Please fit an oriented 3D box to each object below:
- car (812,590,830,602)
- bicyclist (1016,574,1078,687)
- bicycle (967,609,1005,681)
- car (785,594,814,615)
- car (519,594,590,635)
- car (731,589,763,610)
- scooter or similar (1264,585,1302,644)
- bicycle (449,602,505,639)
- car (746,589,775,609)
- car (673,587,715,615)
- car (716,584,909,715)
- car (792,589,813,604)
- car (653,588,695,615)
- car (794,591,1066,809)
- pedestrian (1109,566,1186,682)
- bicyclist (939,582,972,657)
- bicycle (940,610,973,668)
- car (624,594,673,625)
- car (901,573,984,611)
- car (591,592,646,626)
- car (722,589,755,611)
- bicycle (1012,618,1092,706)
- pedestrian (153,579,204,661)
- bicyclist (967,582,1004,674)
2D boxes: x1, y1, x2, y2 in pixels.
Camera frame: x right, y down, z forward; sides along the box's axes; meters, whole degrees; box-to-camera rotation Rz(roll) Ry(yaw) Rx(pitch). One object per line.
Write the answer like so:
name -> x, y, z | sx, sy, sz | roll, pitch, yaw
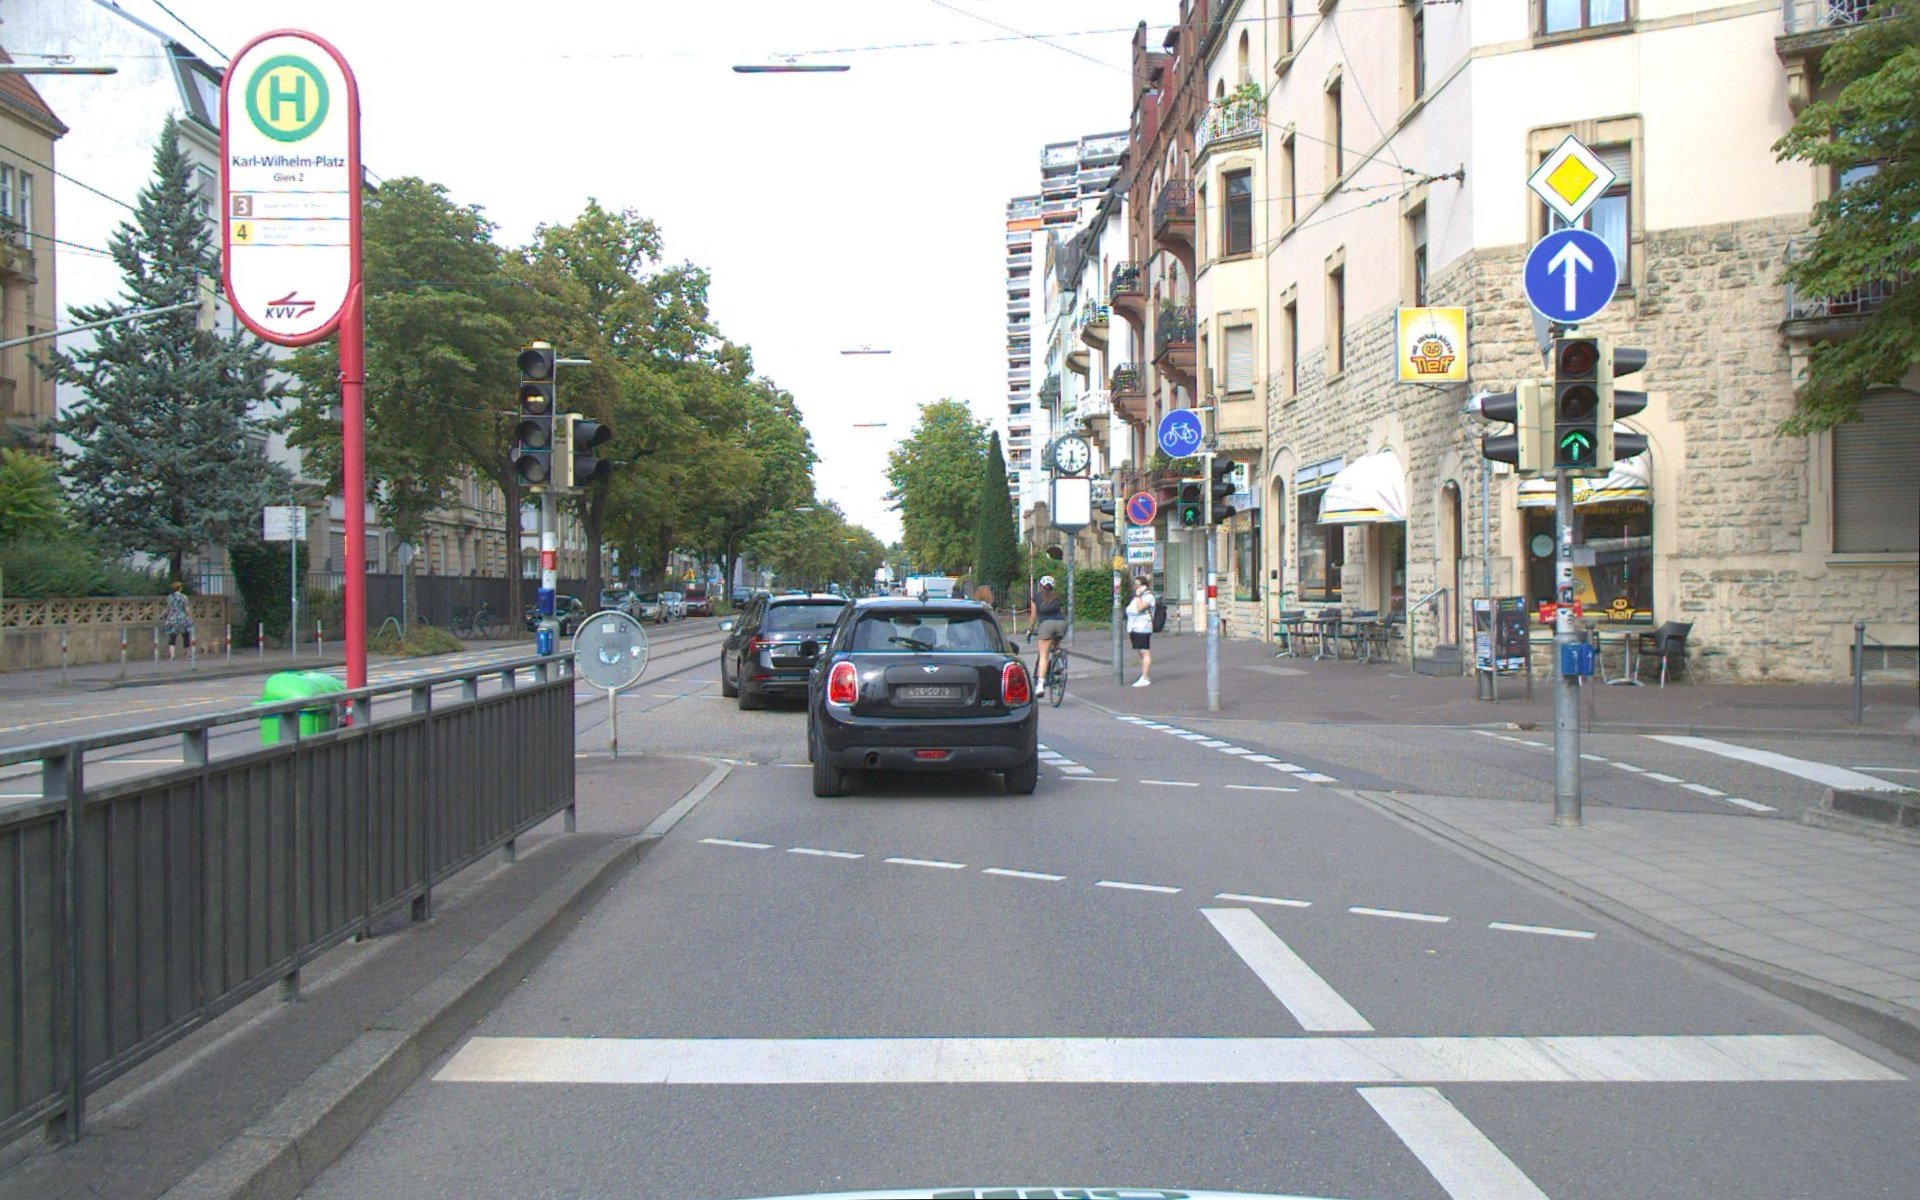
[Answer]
car -> -18.089, -0.512, 215.667 | 1.953, 1.579, 4.000 | -1, 0, -1
bicyclist -> 1.181, 0.399, 22.636 | 0.604, 1.498, 0.912 | -1, 0, -12
bicycle -> 0.451, 0.770, 29.178 | 0.586, 1.190, 1.696 | -1, 1, -1
car -> -11.226, 0.301, 115.700 | 1.731, 1.419, 3.999 | -1, 0, -2
car -> -14.941, 0.497, 61.160 | 1.731, 1.419, 3.999 | -1, 0, -2
car -> -16.585, -0.058, 129.044 | 1.953, 1.579, 4.000 | -1, 0, -1
scooter or similar -> 6.732, 0.289, 34.517 | 0.498, 1.209, 1.261 | -1, 1, -1
bicycle -> -15.658, 0.647, 53.658 | 1.657, 1.138, 0.564 | -2, 1, -41
car -> -16.748, -0.100, 139.075 | 1.953, 1.579, 4.000 | -1, 0, -1
car -> -16.034, 0.047, 99.884 | 1.953, 1.579, 4.000 | -1, 0, -1
car -> -2.056, 0.584, 21.999 | 1.895, 1.536, 3.984 | -1, 0, -15
car -> -17.694, -0.397, 185.751 | 1.953, 1.579, 4.000 | -1, 0, -1
car -> -15.807, 0.082, 91.489 | 1.731, 1.419, 3.999 | -1, 0, -2
car -> -0.394, 0.677, 13.492 | 1.719, 1.466, 3.993 | -1, 0, -8
pedestrian -> 2.898, 0.371, 25.521 | 0.829, 1.703, 0.720 | -5, 1, -45
bicyclist -> -0.083, 0.411, 36.100 | 0.670, 1.591, 0.998 | -1, 0, 1
bicycle -> -0.073, 0.837, 36.133 | 0.670, 1.190, 1.697 | -1, 1, 1
car -> -15.197, 0.433, 80.855 | 1.731, 1.419, 3.999 | -1, 0, -2
car -> -1.117, -0.536, 105.743 | 4.996, 2.312, 2.361 | -1, 1, -42
car -> -15.075, 0.391, 73.183 | 1.731, 1.419, 3.999 | -1, 0, -2
car -> -16.436, -0.039, 122.847 | 1.953, 1.579, 4.000 | -1, 0, -1
bicycle -> 1.232, 0.816, 22.427 | 0.604, 1.095, 1.815 | -1, 1, -12
pedestrian -> -17.543, 0.442, 37.148 | 0.715, 1.815, 0.835 | -1, 0, -1
bicyclist -> 0.448, 0.478, 29.173 | 0.582, 1.577, 1.013 | -1, 0, -1
